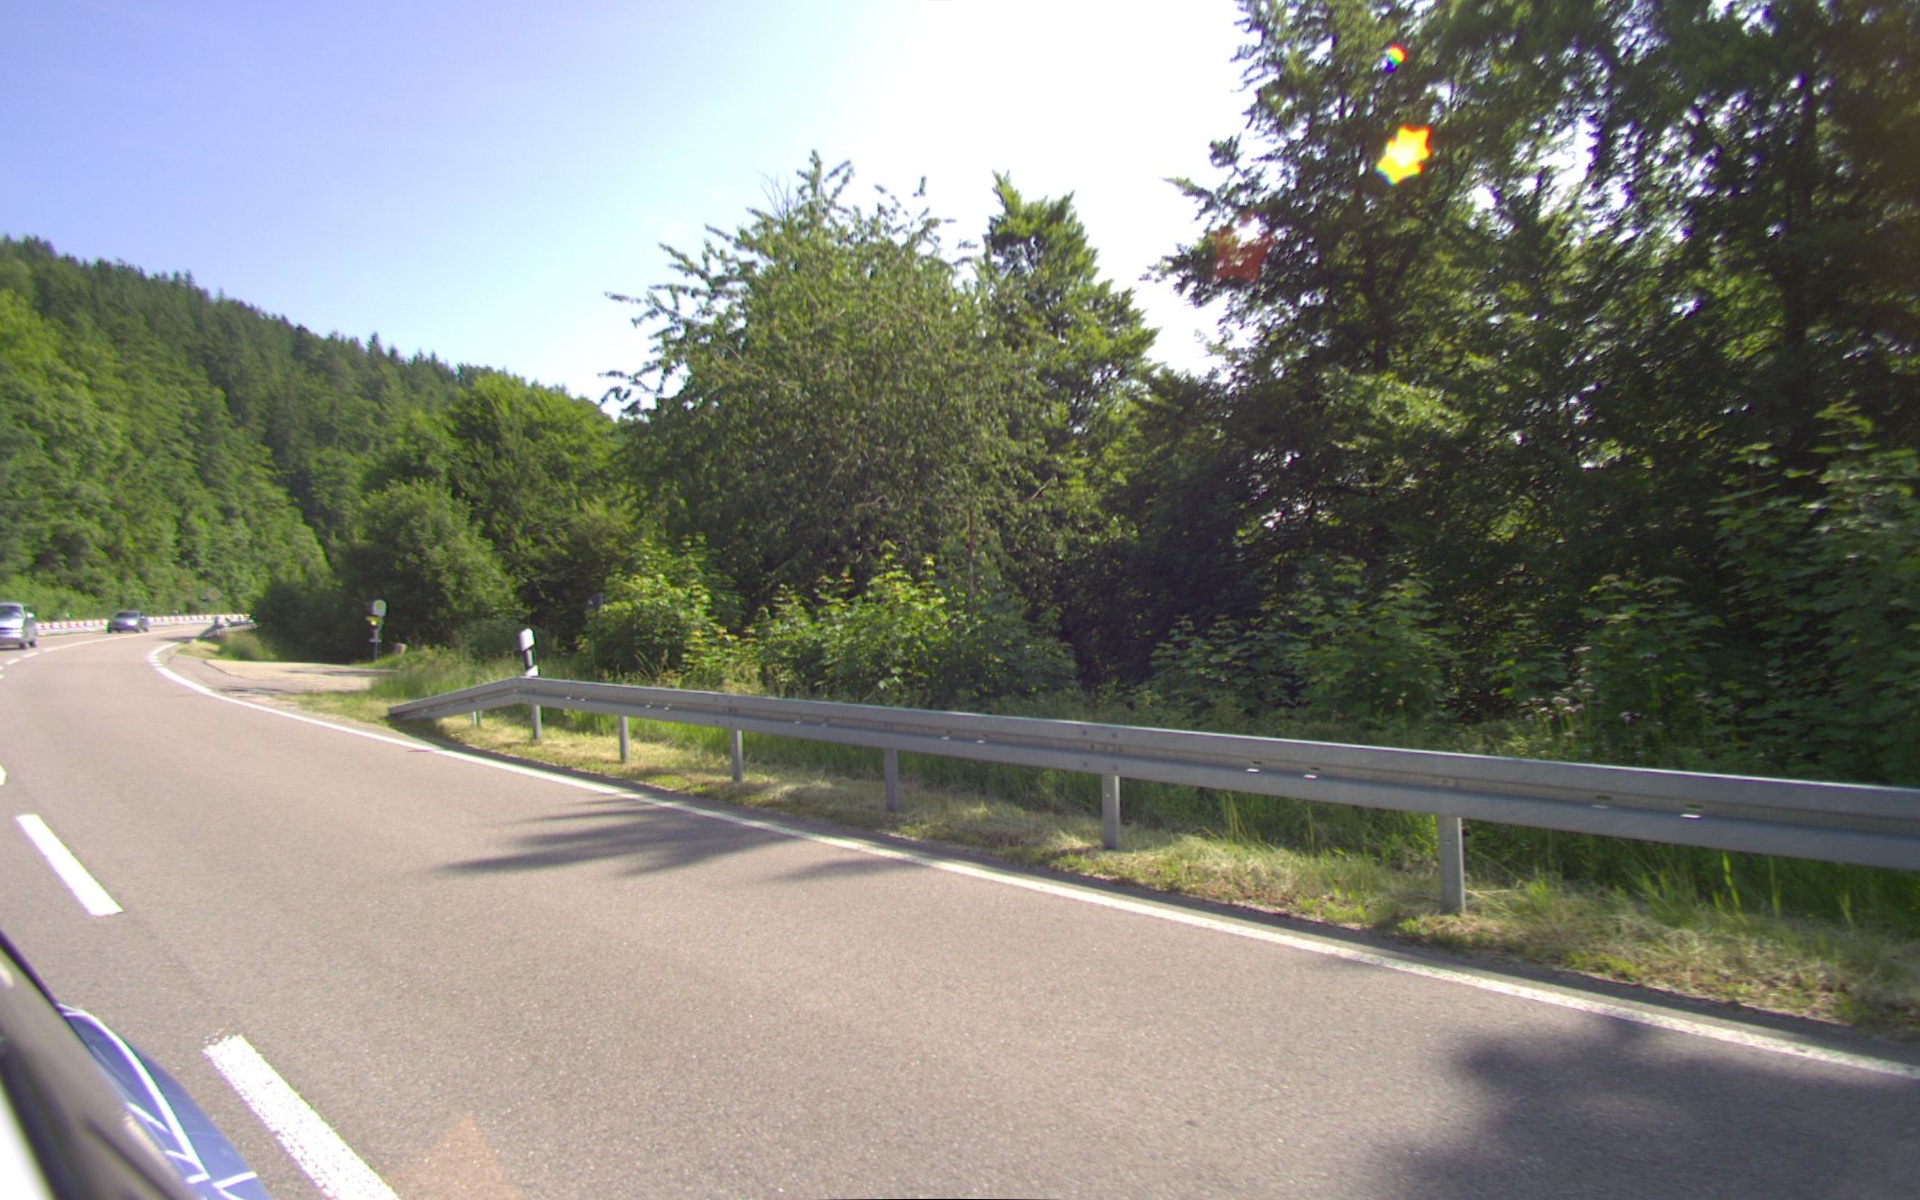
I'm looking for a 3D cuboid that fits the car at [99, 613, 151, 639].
[{"bbox_3d":[-55.706,1.701,67.575,1.966,1.655,4.012,-1,0,-30],"label":"car"}]

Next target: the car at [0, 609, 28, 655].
[{"bbox_3d":[-39.065,1.277,41.022,1.628,1.773,3.801,1,-1,-39],"label":"car"}]
